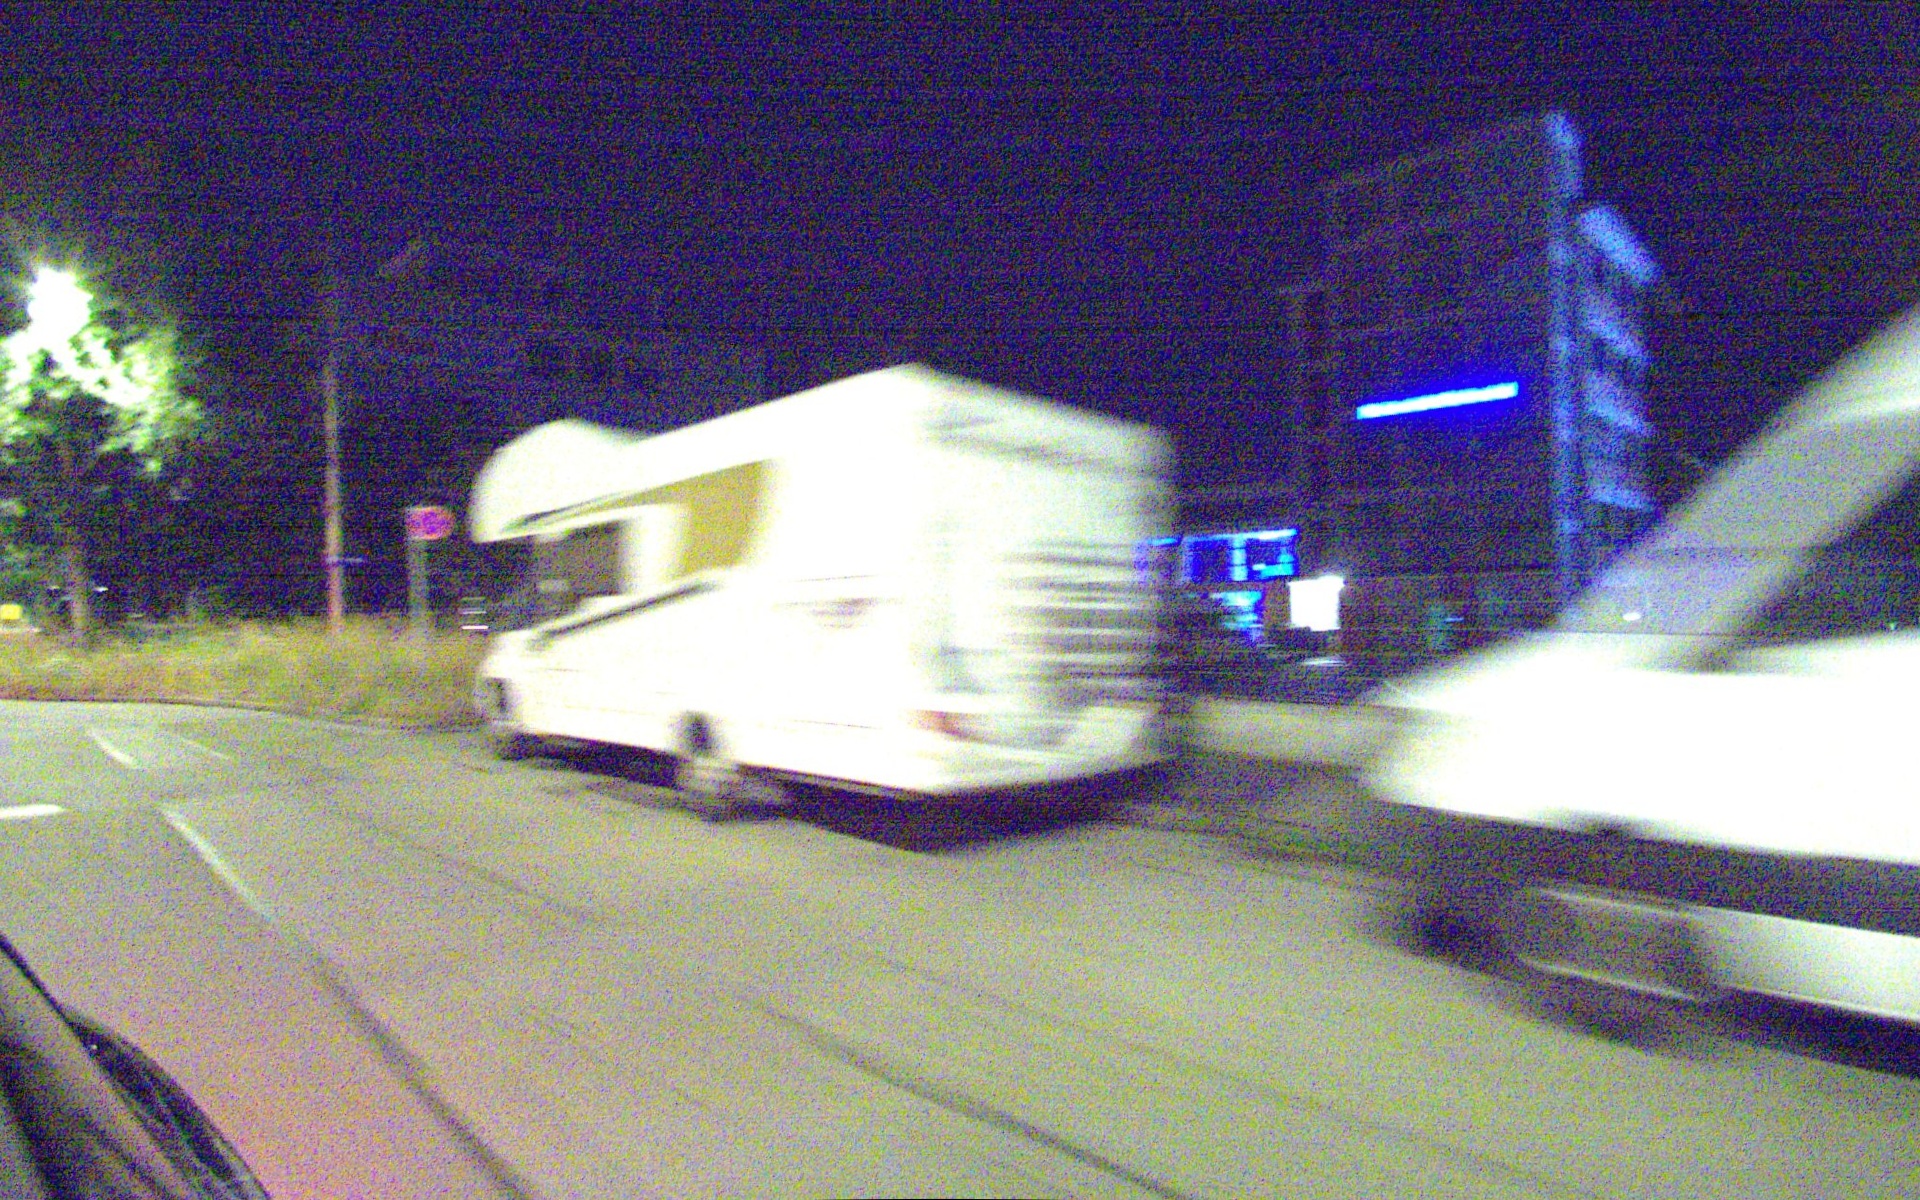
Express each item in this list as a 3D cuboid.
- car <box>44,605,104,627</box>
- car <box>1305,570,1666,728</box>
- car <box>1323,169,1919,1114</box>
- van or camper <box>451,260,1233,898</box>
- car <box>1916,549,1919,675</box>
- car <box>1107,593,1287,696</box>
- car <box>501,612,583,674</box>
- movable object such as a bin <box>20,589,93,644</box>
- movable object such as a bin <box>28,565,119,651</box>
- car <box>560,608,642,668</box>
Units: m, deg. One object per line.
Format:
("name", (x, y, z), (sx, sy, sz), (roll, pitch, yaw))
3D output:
("car", (-89.695, 1.615, 102.443), (2.000, 1.987, 4.383), (-2, 0, 44))
("car", (10.018, 0.825, 20.241), (1.965, 2.573, 6.702), (-2, 0, -21))
("car", (4.849, 0.116, 2.463), (7.092, 2.626, 2.491), (0, -1, 43))
("van or camper", (-1.672, -0.067, 8.494), (2.490, 3.118, 7.450), (1, -1, -44))
("car", (14.532, 0.715, 10.312), (1.965, 2.863, 6.702), (-2, 0, -21))
("car", (6.605, 1.169, 29.144), (1.965, 2.573, 5.897), (-2, 0, -21))
("car", (-18.615, 1.865, 44.979), (1.969, 2.573, 4.489), (-2, 0, -41))
("movable object such as a bin", (-42.280, 0.768, 47.352), (2.822, 2.486, 1.541), (0, -1, 24))
("movable object such as a bin", (-29.854, 0.321, 34.064), (3.695, 2.755, 1.555), (-2, -3, 38))
("car", (-16.646, 1.725, 46.768), (1.969, 2.573, 4.489), (-2, 0, -41))
